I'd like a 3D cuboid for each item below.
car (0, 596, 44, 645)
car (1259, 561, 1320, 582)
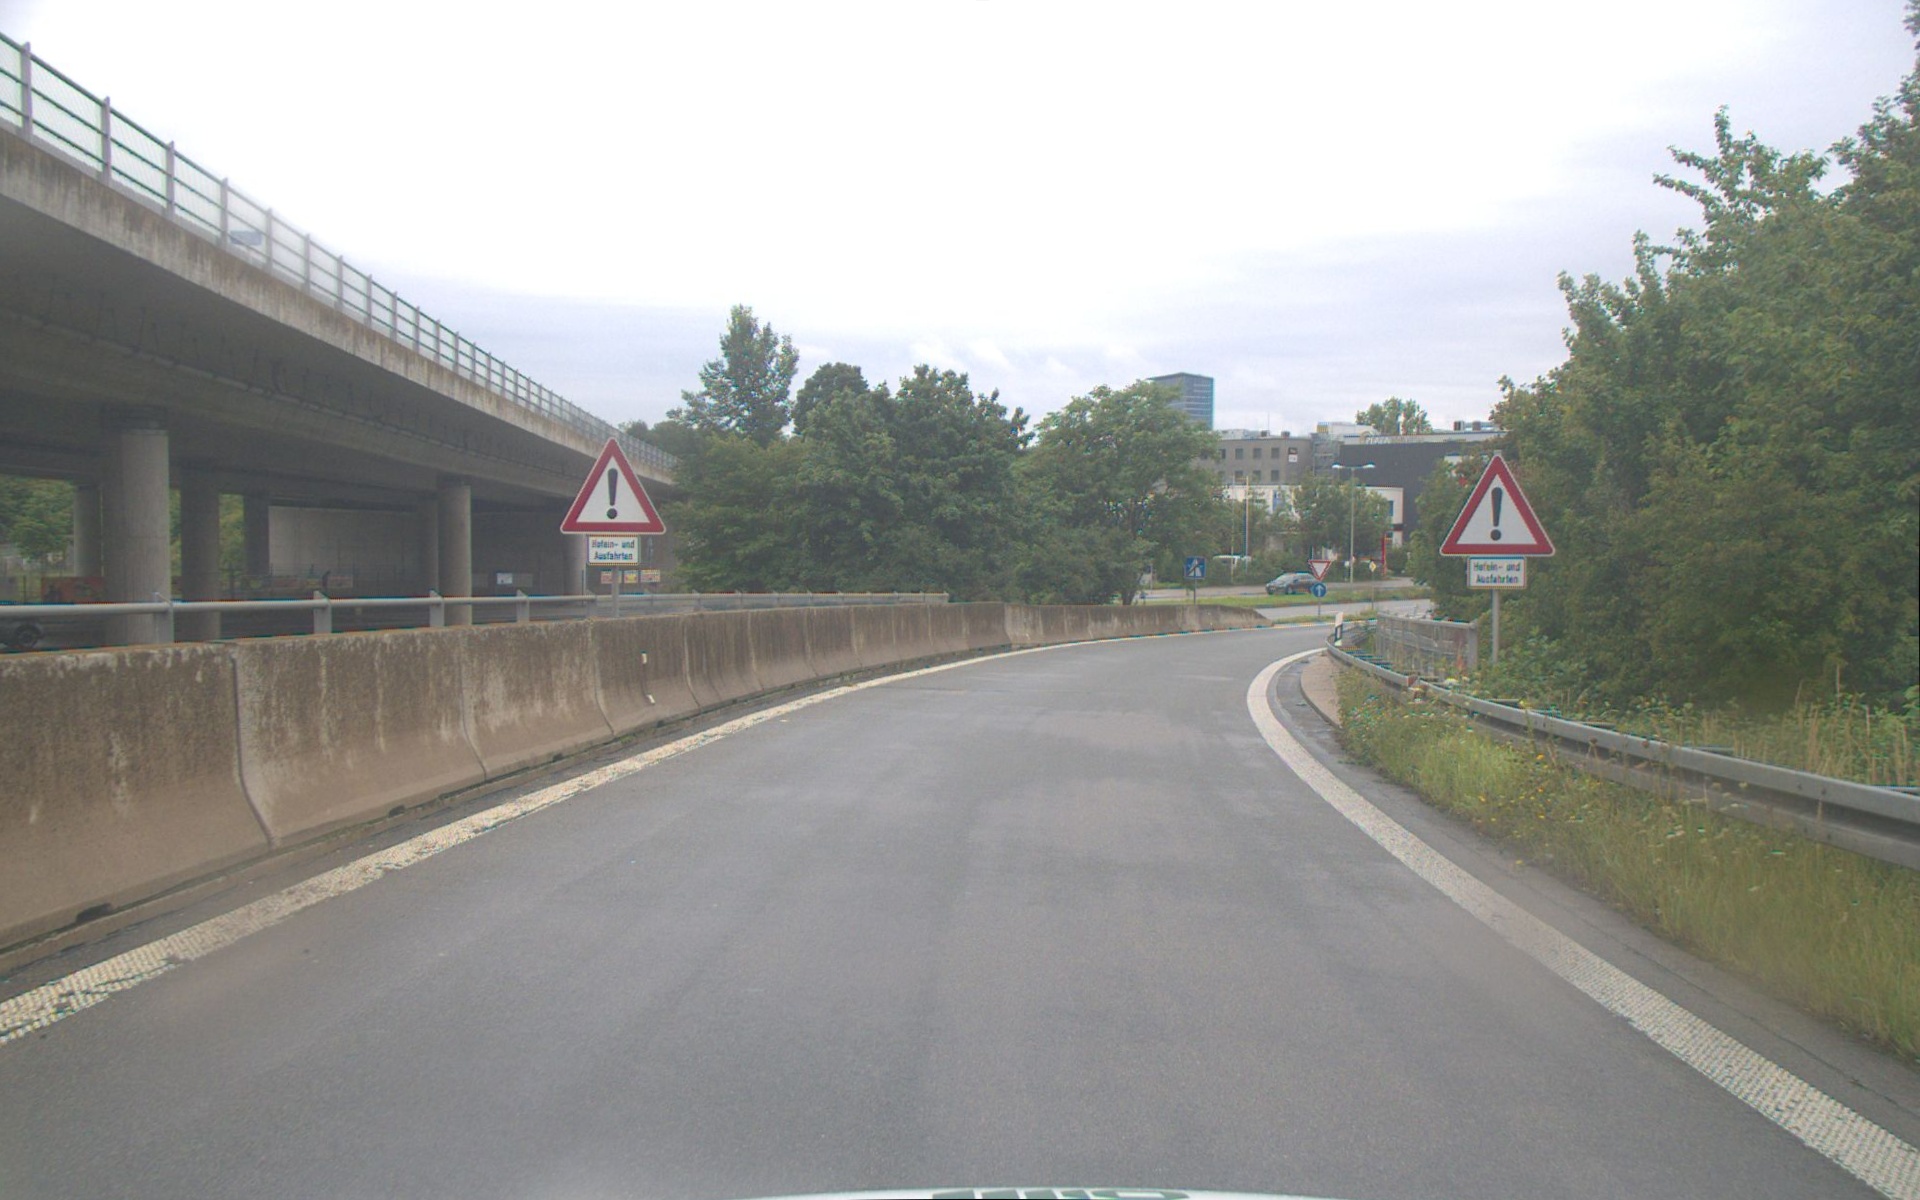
[{"bbox_3d":[-33.581,0.707,55.544,1.941,1.610,4.562,0,1,43],"label":"car"},{"bbox_3d":[23.581,-2.045,118.363,4.780,1.421,1.944,-1,2,-44],"label":"car"}]
